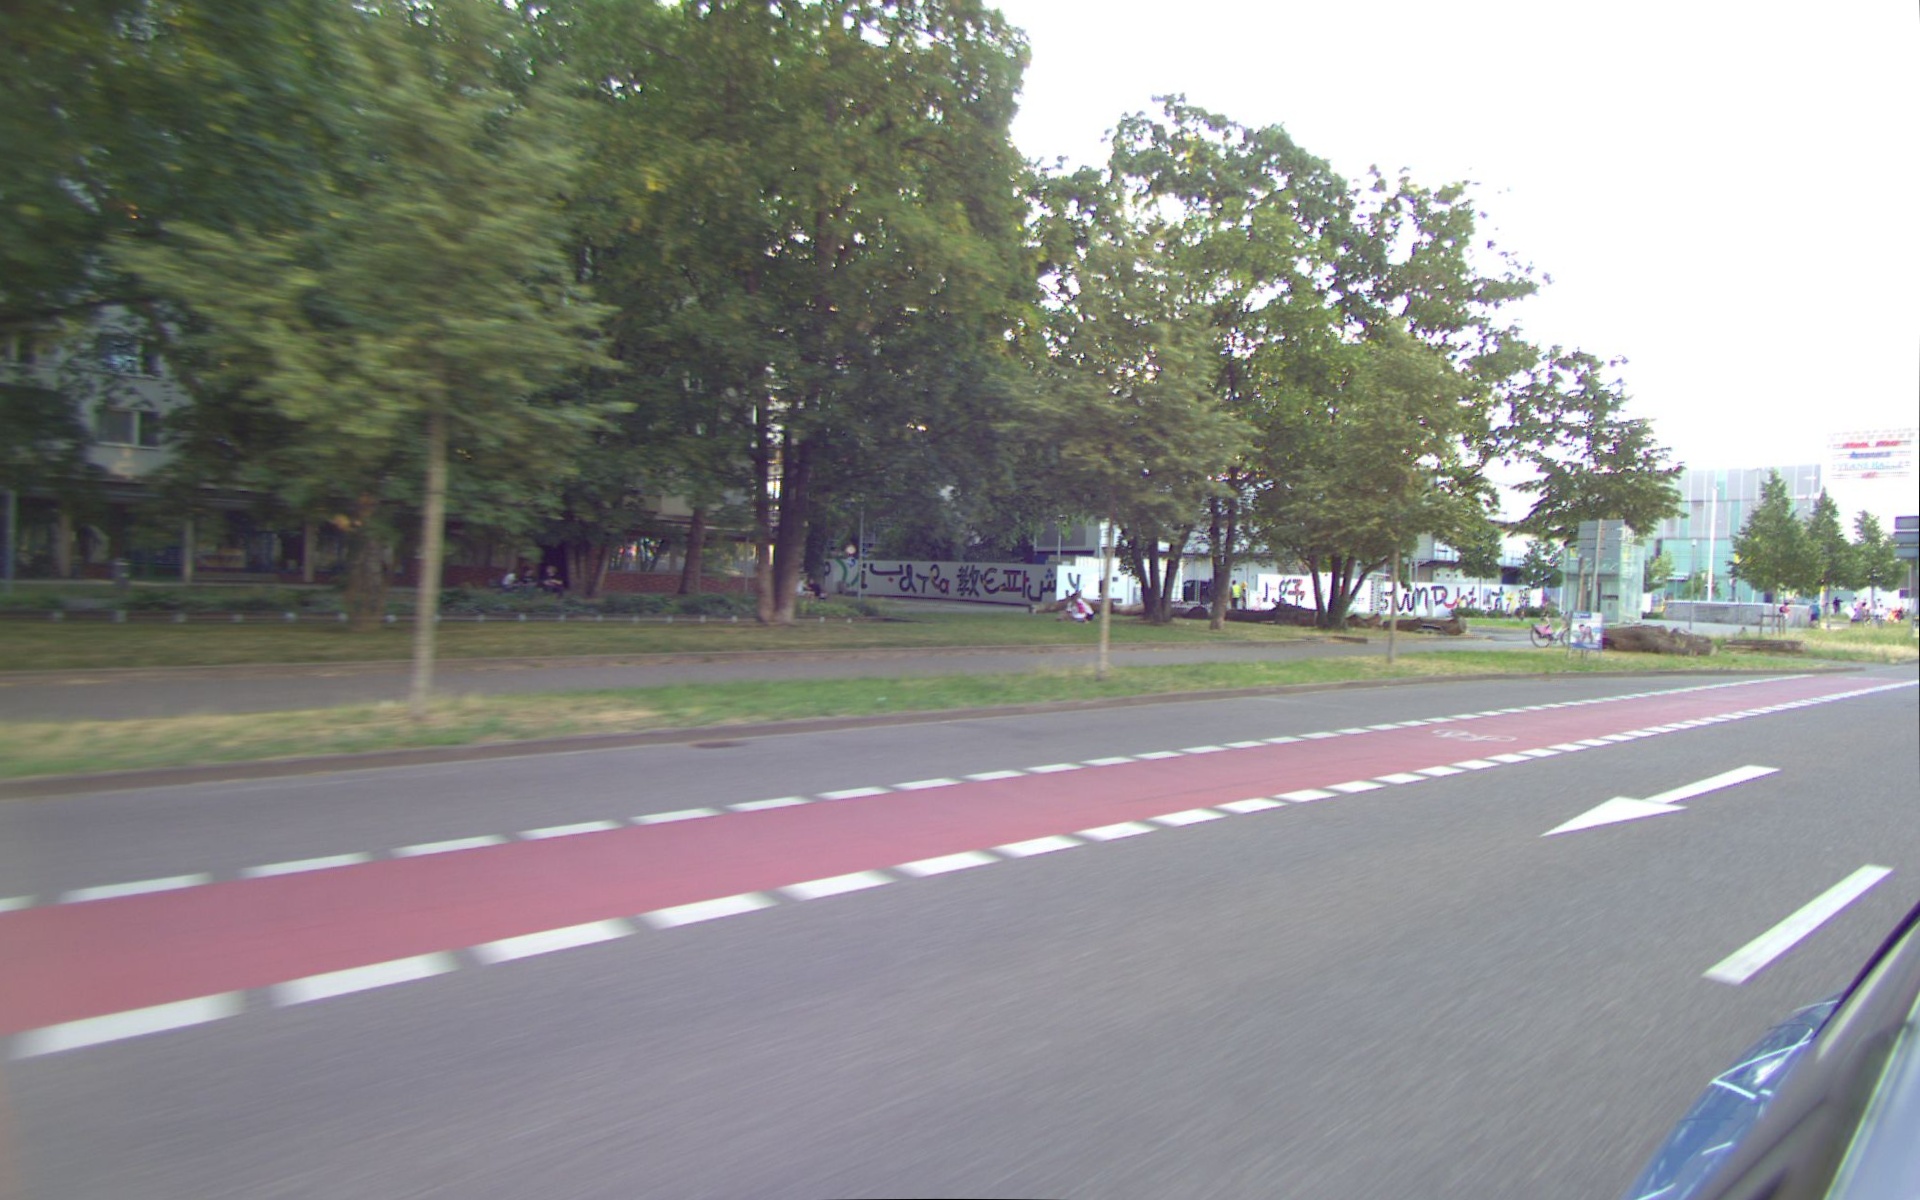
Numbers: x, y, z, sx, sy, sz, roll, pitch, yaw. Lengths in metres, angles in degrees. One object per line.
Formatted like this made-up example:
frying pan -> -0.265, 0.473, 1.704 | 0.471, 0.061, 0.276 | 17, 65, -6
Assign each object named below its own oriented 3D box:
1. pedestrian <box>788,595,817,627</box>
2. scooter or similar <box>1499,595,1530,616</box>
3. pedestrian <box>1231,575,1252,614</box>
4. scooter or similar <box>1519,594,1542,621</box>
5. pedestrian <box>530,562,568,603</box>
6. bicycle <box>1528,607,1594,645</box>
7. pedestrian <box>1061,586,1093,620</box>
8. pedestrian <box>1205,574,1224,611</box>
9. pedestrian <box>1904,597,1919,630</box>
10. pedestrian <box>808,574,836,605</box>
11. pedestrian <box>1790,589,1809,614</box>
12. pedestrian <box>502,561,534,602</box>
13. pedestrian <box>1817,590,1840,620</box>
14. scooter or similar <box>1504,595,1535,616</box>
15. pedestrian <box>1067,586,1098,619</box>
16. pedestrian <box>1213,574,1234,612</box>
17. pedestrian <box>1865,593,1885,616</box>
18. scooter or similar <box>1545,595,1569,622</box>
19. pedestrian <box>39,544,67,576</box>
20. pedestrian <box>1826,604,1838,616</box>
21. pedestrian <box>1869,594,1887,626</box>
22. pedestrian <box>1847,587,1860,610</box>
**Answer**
pedestrian -> -6.090, 0.408, 39.079 | 0.754, 1.178, 0.787 | 1, 2, -43
scooter or similar -> 33.119, 0.318, 60.478 | 0.466, 1.236, 1.573 | 1, 0, -40
pedestrian -> 13.986, -0.282, 50.370 | 0.587, 1.943, 0.771 | 2, 1, -23
scooter or similar -> 27.344, 0.362, 48.531 | 1.549, 1.235, 0.474 | 1, 4, -45
pedestrian -> -13.414, -0.584, 33.013 | 0.888, 1.276, 1.135 | 1, 1, -35
bicycle -> 17.627, 0.753, 29.686 | 1.858, 1.017, 0.497 | 2, 3, -18
pedestrian -> 3.261, 0.075, 28.205 | 0.675, 0.895, 0.587 | 3, 1, 28
pedestrian -> 13.212, -0.398, 52.555 | 0.587, 1.925, 0.771 | 2, 1, -23
pedestrian -> 58.636, 0.828, 62.268 | 0.608, 1.957, 0.644 | 1, 1, -38
pedestrian -> -5.398, -0.406, 39.689 | 0.754, 1.178, 0.787 | 1, 2, -43
pedestrian -> 50.967, 0.095, 61.424 | 0.633, 1.509, 0.761 | 4, 0, -42
pedestrian -> -14.207, -0.609, 32.515 | 0.712, 1.276, 1.135 | 1, 1, -35
pedestrian -> 54.909, 0.289, 63.975 | 1.026, 1.838, 0.818 | 2, 0, -32
scooter or similar -> 33.706, 0.310, 61.030 | 0.466, 1.236, 1.573 | 1, 0, -40
pedestrian -> 3.494, 0.064, 28.759 | 0.675, 0.895, 0.617 | 3, 1, 28
pedestrian -> 13.427, -0.355, 51.596 | 0.587, 1.879, 0.771 | 2, 1, -23
pedestrian -> 76.795, 0.368, 84.924 | 0.883, 1.876, 0.722 | 4, 4, 19
scooter or similar -> 28.113, 0.401, 47.646 | 1.372, 1.235, 0.425 | 1, 3, -37
pedestrian -> -34.409, -1.531, 38.393 | 0.687, 1.178, 0.788 | 1, 1, -36
pedestrian -> 73.335, 0.832, 85.112 | 0.643, 0.975, 0.649 | 1, 2, -43
pedestrian -> 57.028, 0.609, 62.880 | 0.607, 1.957, 0.644 | 1, 1, -36
pedestrian -> 74.948, -0.101, 84.895 | 0.575, 1.877, 0.605 | 1, 1, -33
